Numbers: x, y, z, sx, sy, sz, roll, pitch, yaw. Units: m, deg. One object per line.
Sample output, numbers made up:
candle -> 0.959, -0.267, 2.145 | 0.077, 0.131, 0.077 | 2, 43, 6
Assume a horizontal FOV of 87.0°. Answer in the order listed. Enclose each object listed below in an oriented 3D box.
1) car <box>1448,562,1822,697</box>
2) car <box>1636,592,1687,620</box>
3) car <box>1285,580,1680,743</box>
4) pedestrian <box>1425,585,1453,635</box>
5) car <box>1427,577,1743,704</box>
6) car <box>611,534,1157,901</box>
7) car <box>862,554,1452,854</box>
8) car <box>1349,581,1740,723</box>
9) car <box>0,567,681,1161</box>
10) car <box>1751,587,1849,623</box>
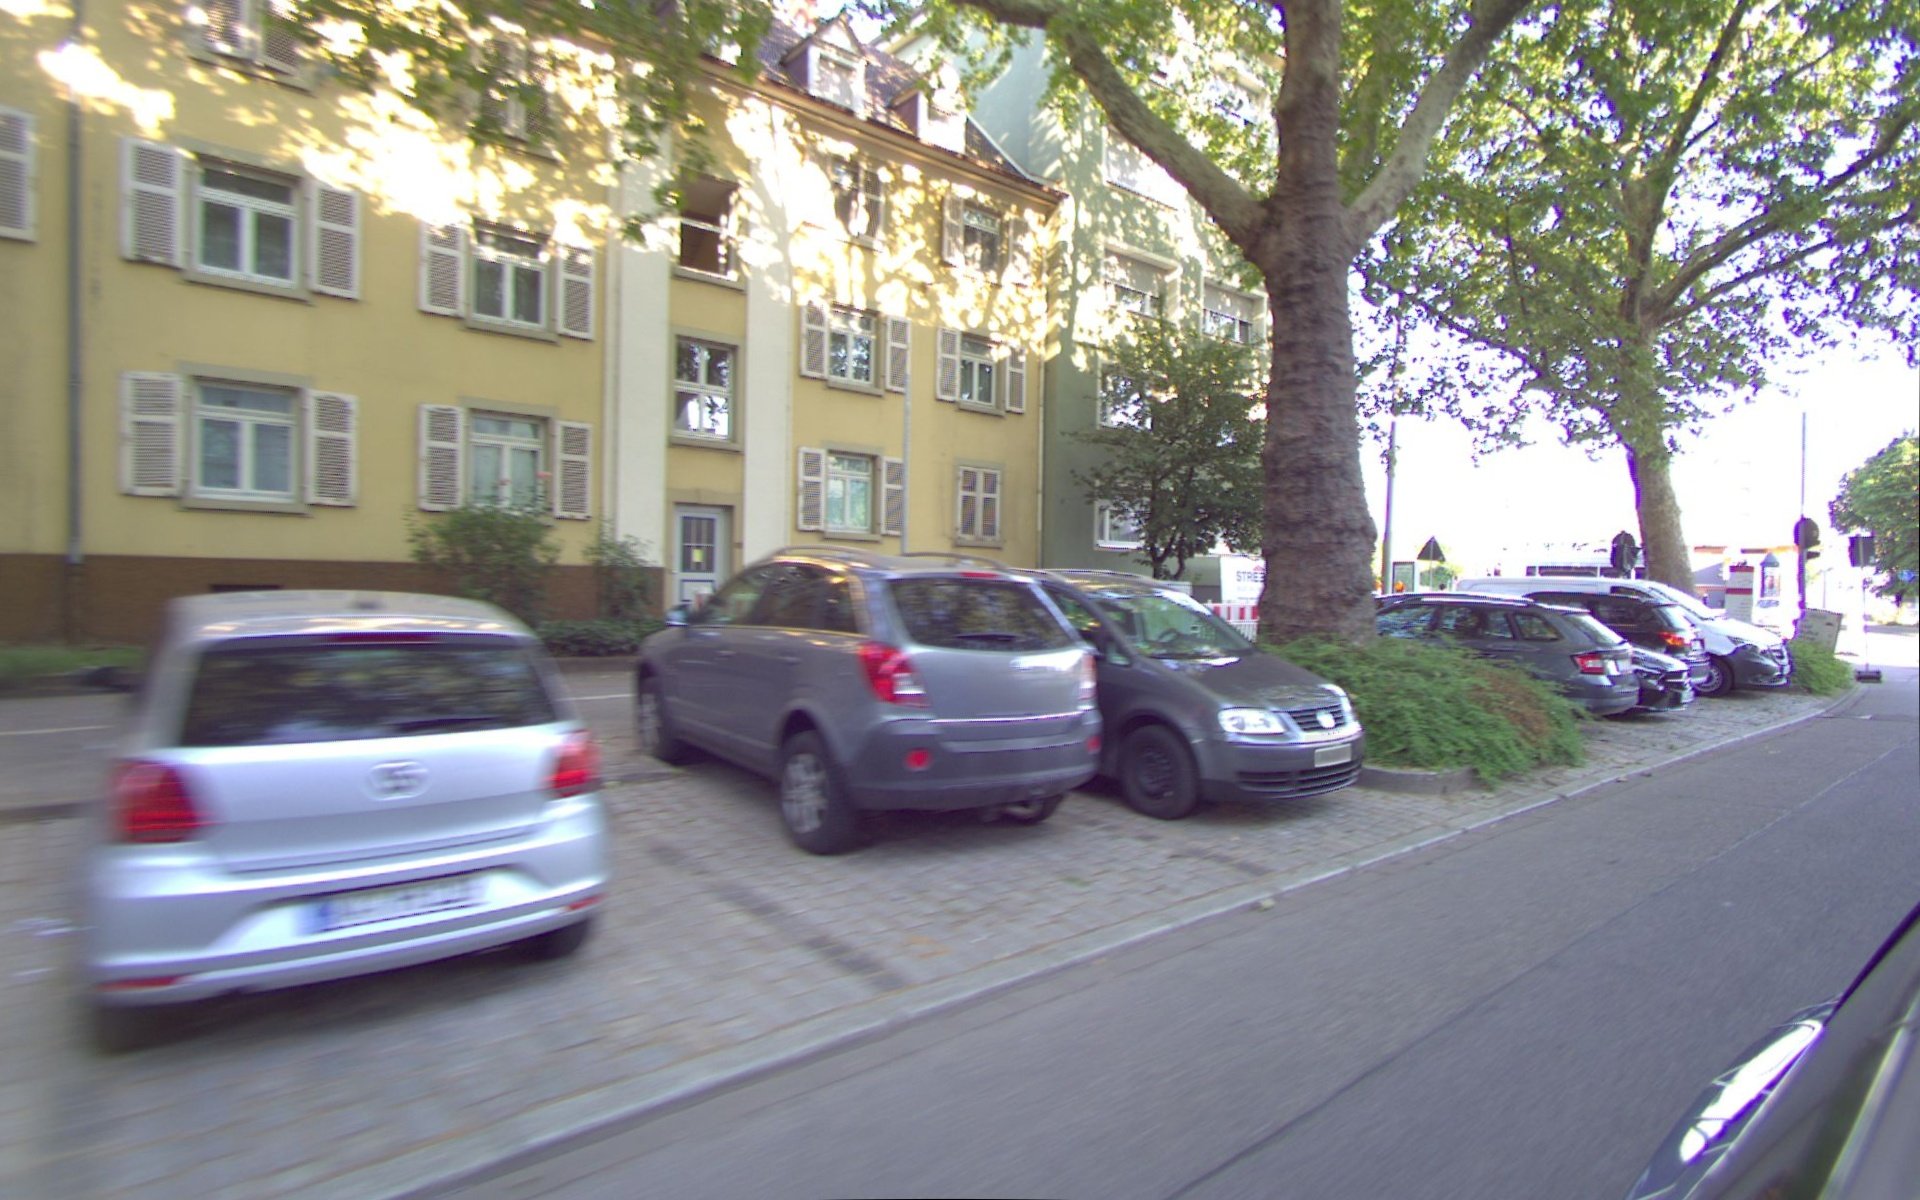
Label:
car -> 11.638, 0.369, 17.834 | 1.881, 1.878, 5.125 | -1, 4, -40
car -> 38.549, 0.293, 55.683 | 1.624, 1.415, 3.312 | 1, 1, 24
car -> 6.188, 0.602, 12.311 | 1.712, 1.515, 3.886 | 0, 3, -43
pedestrian -> 15.948, 0.317, 33.722 | 0.677, 1.652, 0.640 | 1, 1, 13
car -> 9.801, 0.536, 16.092 | 1.764, 1.625, 3.883 | 1, 2, -40
car -> -0.869, 0.452, 7.139 | 1.806, 1.752, 4.323 | 0, 3, -36
car -> 1.281, 0.527, 8.169 | 1.875, 1.677, 4.434 | 0, 3, -41
car -> 8.053, 0.596, 14.325 | 1.785, 1.542, 4.411 | 1, 2, -39
car -> -2.902, 0.642, 4.590 | 1.832, 1.441, 3.661 | 1, 2, -39
car -> 35.821, 0.236, 43.160 | 3.496, 1.455, 1.644 | 1, -2, -21
